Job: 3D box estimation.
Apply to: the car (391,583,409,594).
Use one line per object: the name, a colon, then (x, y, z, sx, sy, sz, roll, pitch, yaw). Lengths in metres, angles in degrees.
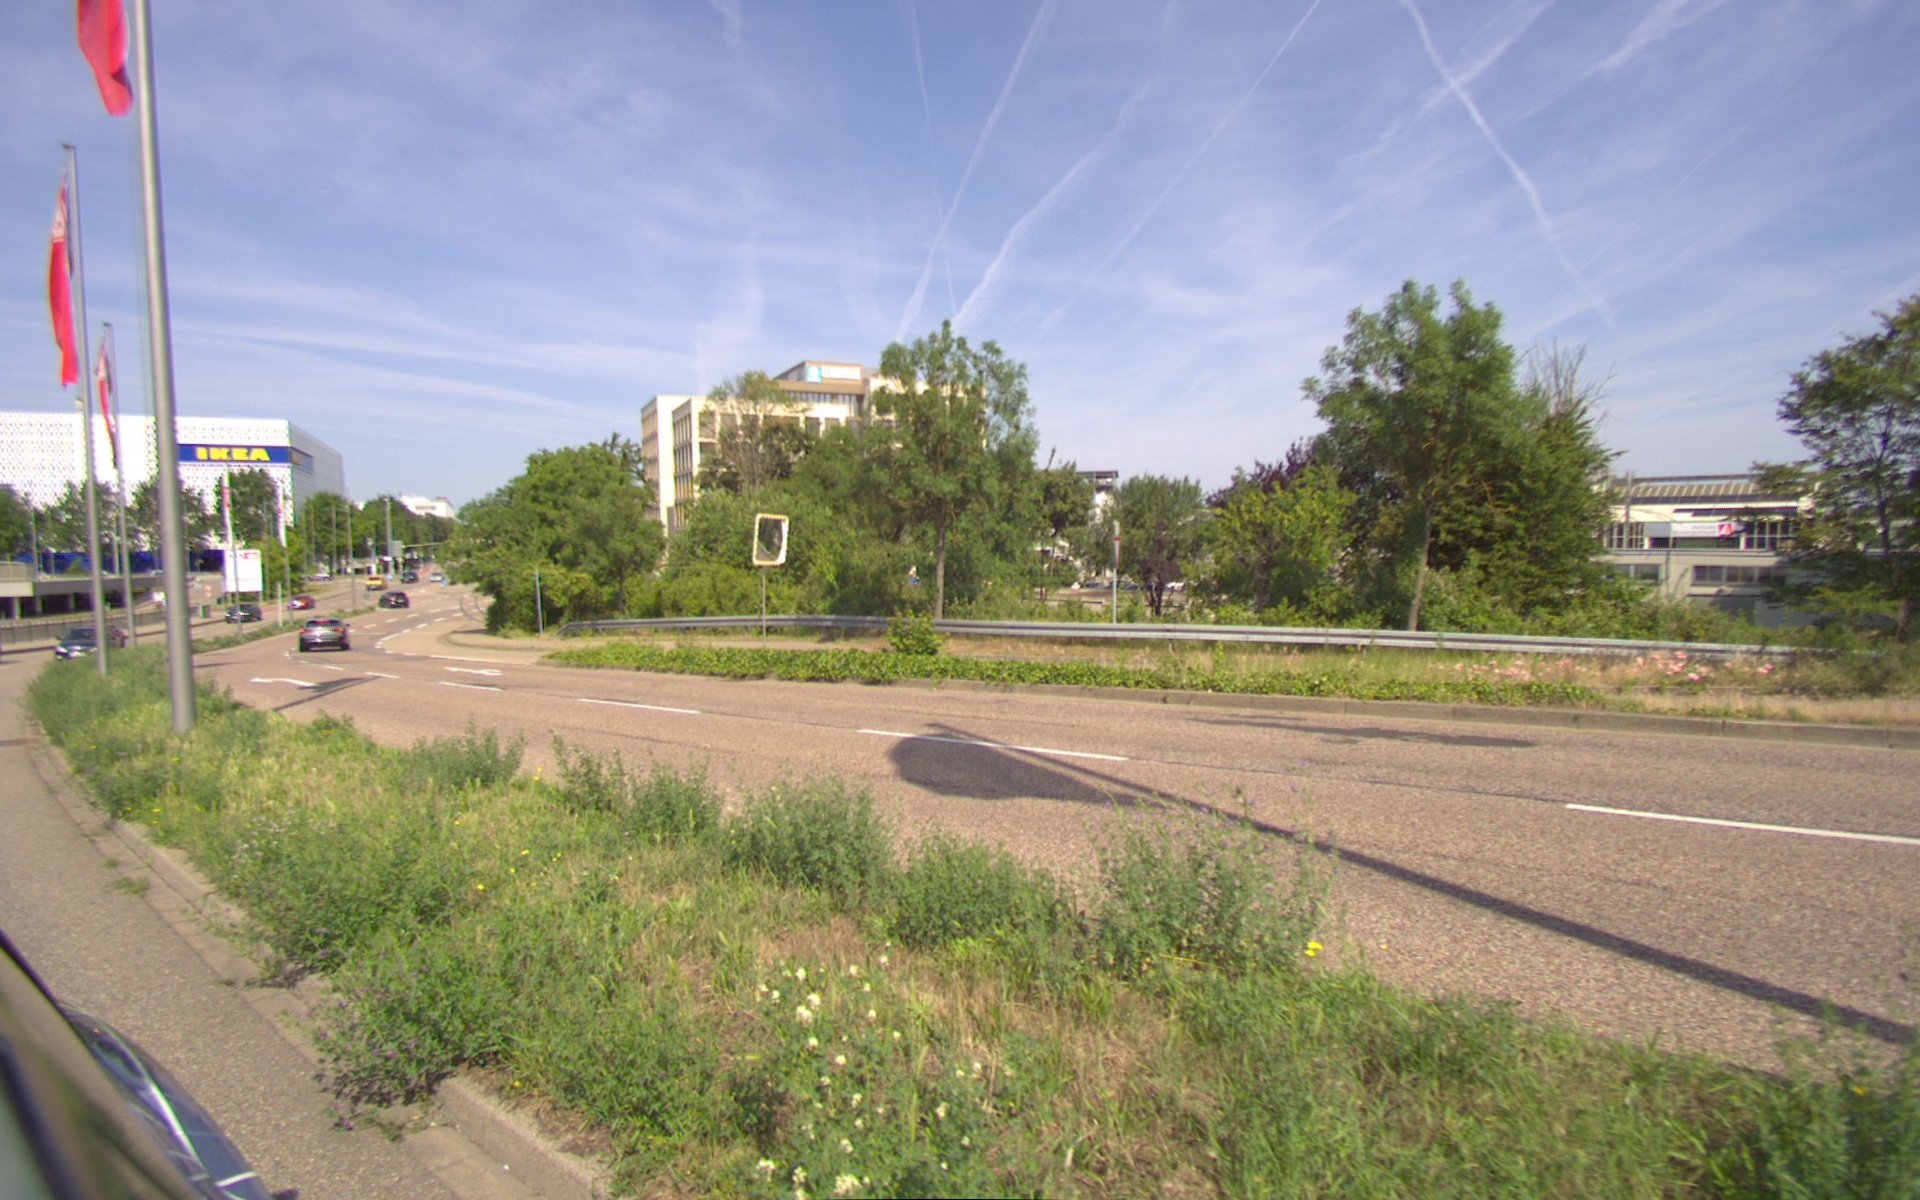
car: (-85.497, -1.719, 154.621, 1.795, 1.485, 4.014, -1, 3, -20)

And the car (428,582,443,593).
car: (-82.147, -1.953, 158.562, 1.795, 1.485, 4.014, -1, 3, -23)

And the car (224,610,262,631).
car: (-60.023, 1.669, 84.778, 1.795, 1.485, 4.014, -1, 3, -23)

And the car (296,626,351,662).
car: (-28.988, 1.988, 46.174, 1.759, 1.496, 4.273, 0, -2, -27)

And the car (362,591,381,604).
car: (-79.751, -0.337, 137.195, 1.795, 1.485, 4.014, -1, 3, -23)

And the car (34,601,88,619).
car: (-102.983, 1.119, 116.003, 4.244, 1.848, 2.006, -2, 1, -29)

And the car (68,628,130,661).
car: (-48.591, 2.470, 57.191, 1.748, 1.671, 4.157, -1, 0, -27)

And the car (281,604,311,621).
car: (-66.850, 1.268, 101.921, 1.795, 1.485, 4.014, -1, 3, -23)

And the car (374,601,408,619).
car: (-56.500, 0.971, 100.480, 1.835, 1.540, 4.147, -2, 3, -45)

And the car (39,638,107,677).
car: (-35.335, 2.271, 40.396, 1.821, 1.429, 4.008, 0, -2, -38)
